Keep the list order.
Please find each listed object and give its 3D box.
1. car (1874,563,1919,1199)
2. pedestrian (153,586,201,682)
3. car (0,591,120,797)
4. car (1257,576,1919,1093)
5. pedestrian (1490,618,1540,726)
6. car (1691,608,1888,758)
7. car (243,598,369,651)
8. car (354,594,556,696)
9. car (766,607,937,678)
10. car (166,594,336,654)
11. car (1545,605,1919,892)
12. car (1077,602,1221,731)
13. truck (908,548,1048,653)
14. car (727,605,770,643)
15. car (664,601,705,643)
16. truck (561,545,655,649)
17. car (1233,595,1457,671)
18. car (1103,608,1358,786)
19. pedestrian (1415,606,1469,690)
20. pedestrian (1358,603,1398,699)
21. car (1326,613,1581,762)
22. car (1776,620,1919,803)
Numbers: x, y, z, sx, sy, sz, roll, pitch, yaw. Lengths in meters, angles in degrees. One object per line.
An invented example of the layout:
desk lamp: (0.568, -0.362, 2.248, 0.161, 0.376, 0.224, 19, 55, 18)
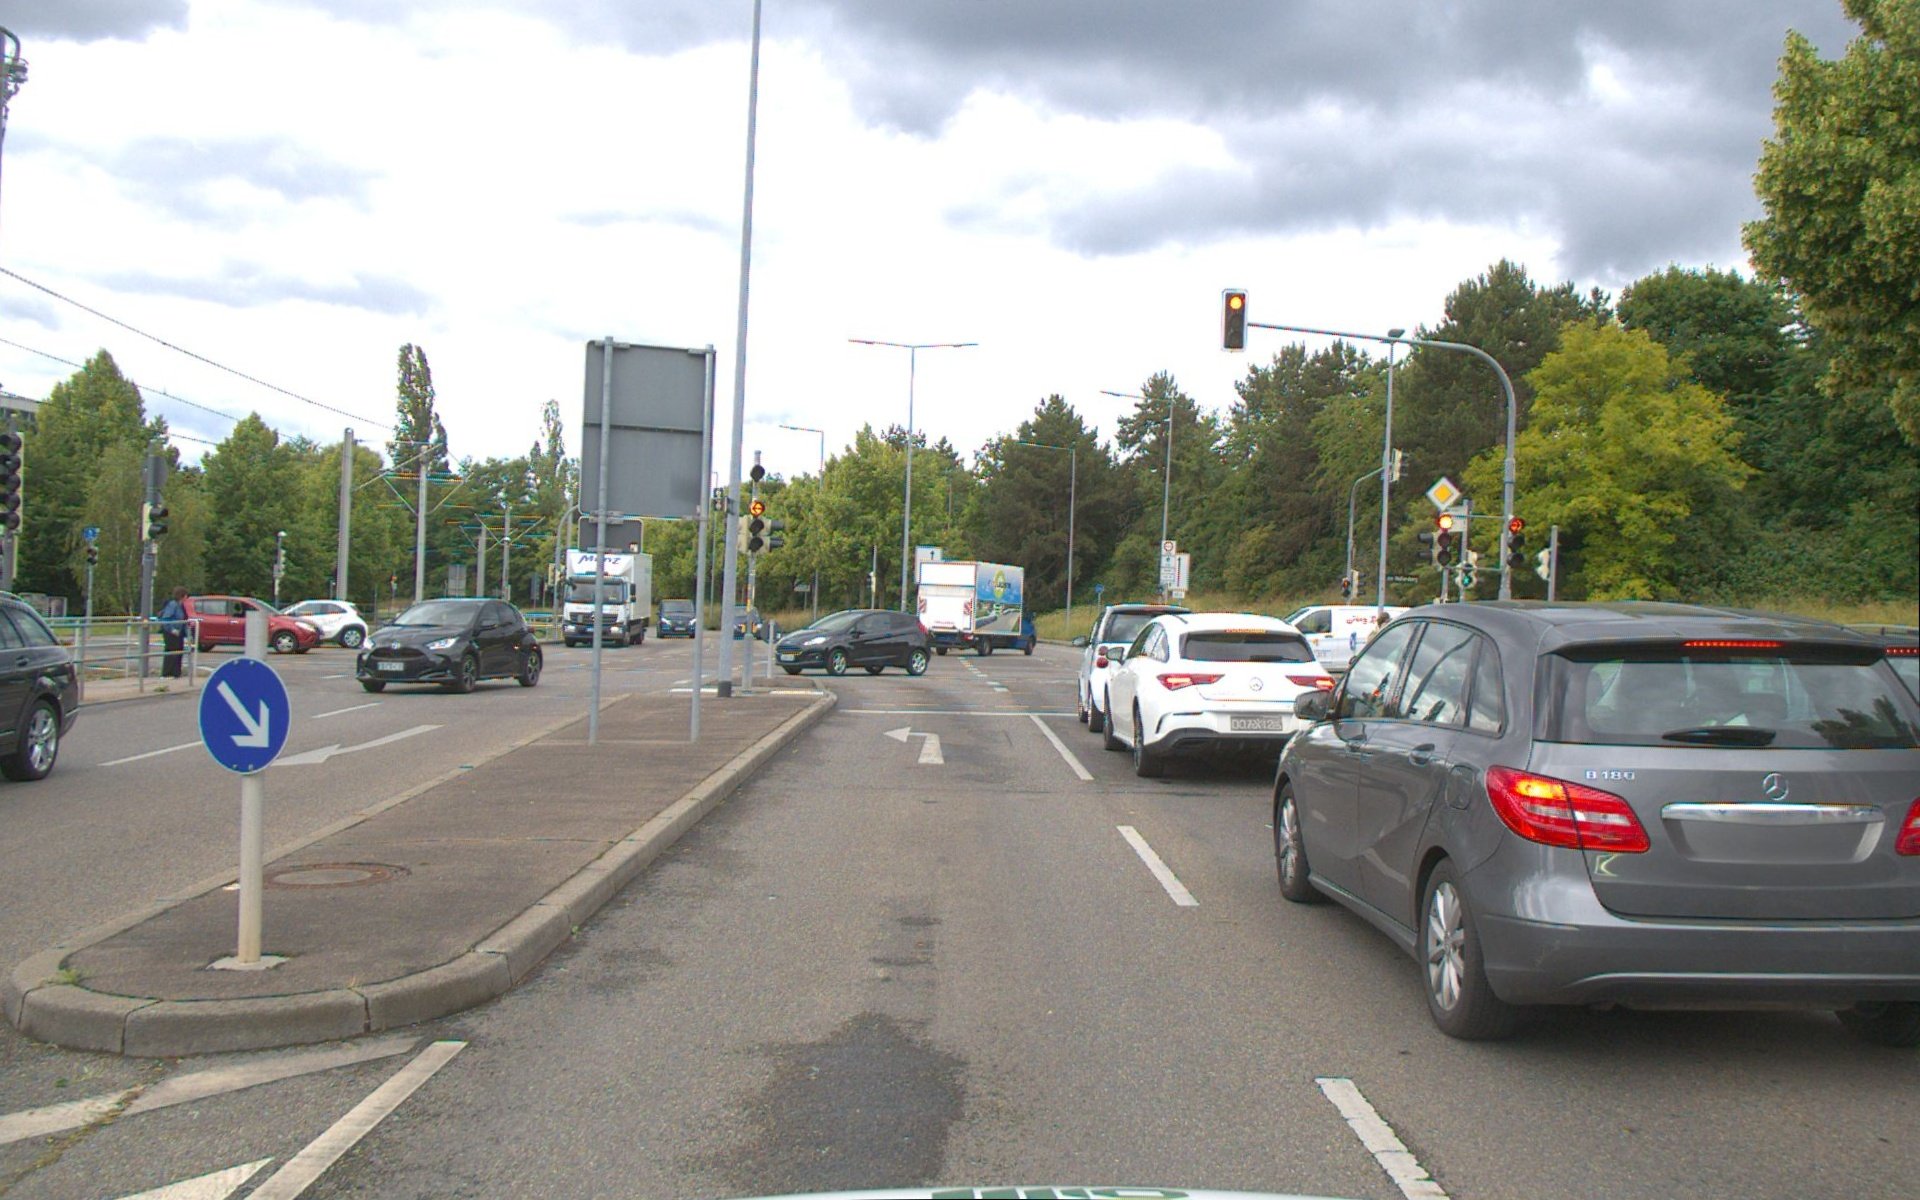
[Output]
car: (2.774, 0.698, 1.524, 1.663, 1.512, 4.000, 1, 0, 0)
pedestrian: (-13.290, 0.565, 28.087, 0.347, 1.583, 0.651, 2, 3, 33)
car: (-7.675, 0.676, 11.509, 1.658, 1.464, 4.541, 0, 0, -5)
car: (2.488, 0.695, 7.086, 1.762, 1.550, 4.188, 0, 0, 1)
pedestrian: (7.766, 1.003, 23.152, 0.598, 1.479, 0.354, 1, -1, 8)
car: (10.606, 0.977, 21.426, 1.667, 1.666, 4.245, 3, 0, 19)
car: (-20.963, 0.757, 53.014, 3.687, 1.534, 1.767, -1, 3, -26)
car: (-8.120, 0.669, 26.964, 1.559, 1.522, 3.943, 0, 0, 9)
car: (-2.420, 0.917, 37.413, 3.748, 1.505, 1.613, 0, 0, -44)
car: (-19.375, 0.673, 45.360, 3.912, 1.543, 1.729, 1, -2, -9)
car: (5.451, 0.792, 10.784, 1.788, 1.460, 4.213, 1, 0, 0)
car: (2.360, 0.803, 21.139, 1.504, 1.530, 2.669, 1, -1, -1)
truck: (0.786, 0.062, 62.218, 2.629, 3.662, 7.261, 2, -1, 23)
car: (-10.270, 1.130, 80.117, 1.881, 1.603, 3.991, 0, 3, -10)
car: (-13.445, 1.056, 80.858, 1.880, 1.757, 3.993, 0, 4, -9)
truck: (-13.691, -0.095, 64.917, 2.609, 3.713, 9.488, 2, -1, -7)
car: (9.885, 0.869, 42.758, 5.309, 1.847, 1.999, 1, -2, -2)
car: (2.436, 0.819, 15.901, 1.686, 1.446, 4.356, 1, 0, -1)
pedestrian: (9.263, 0.912, 31.784, 0.846, 1.588, 0.518, 1, 0, -2)
pedestrian: (7.420, 0.900, 29.362, 0.598, 1.662, 0.614, 1, -1, 8)
car: (5.260, 0.869, 18.139, 1.514, 1.428, 3.999, 1, 0, -2)
car: (8.699, 0.941, 14.406, 1.482, 1.462, 3.642, 0, 0, 2)
